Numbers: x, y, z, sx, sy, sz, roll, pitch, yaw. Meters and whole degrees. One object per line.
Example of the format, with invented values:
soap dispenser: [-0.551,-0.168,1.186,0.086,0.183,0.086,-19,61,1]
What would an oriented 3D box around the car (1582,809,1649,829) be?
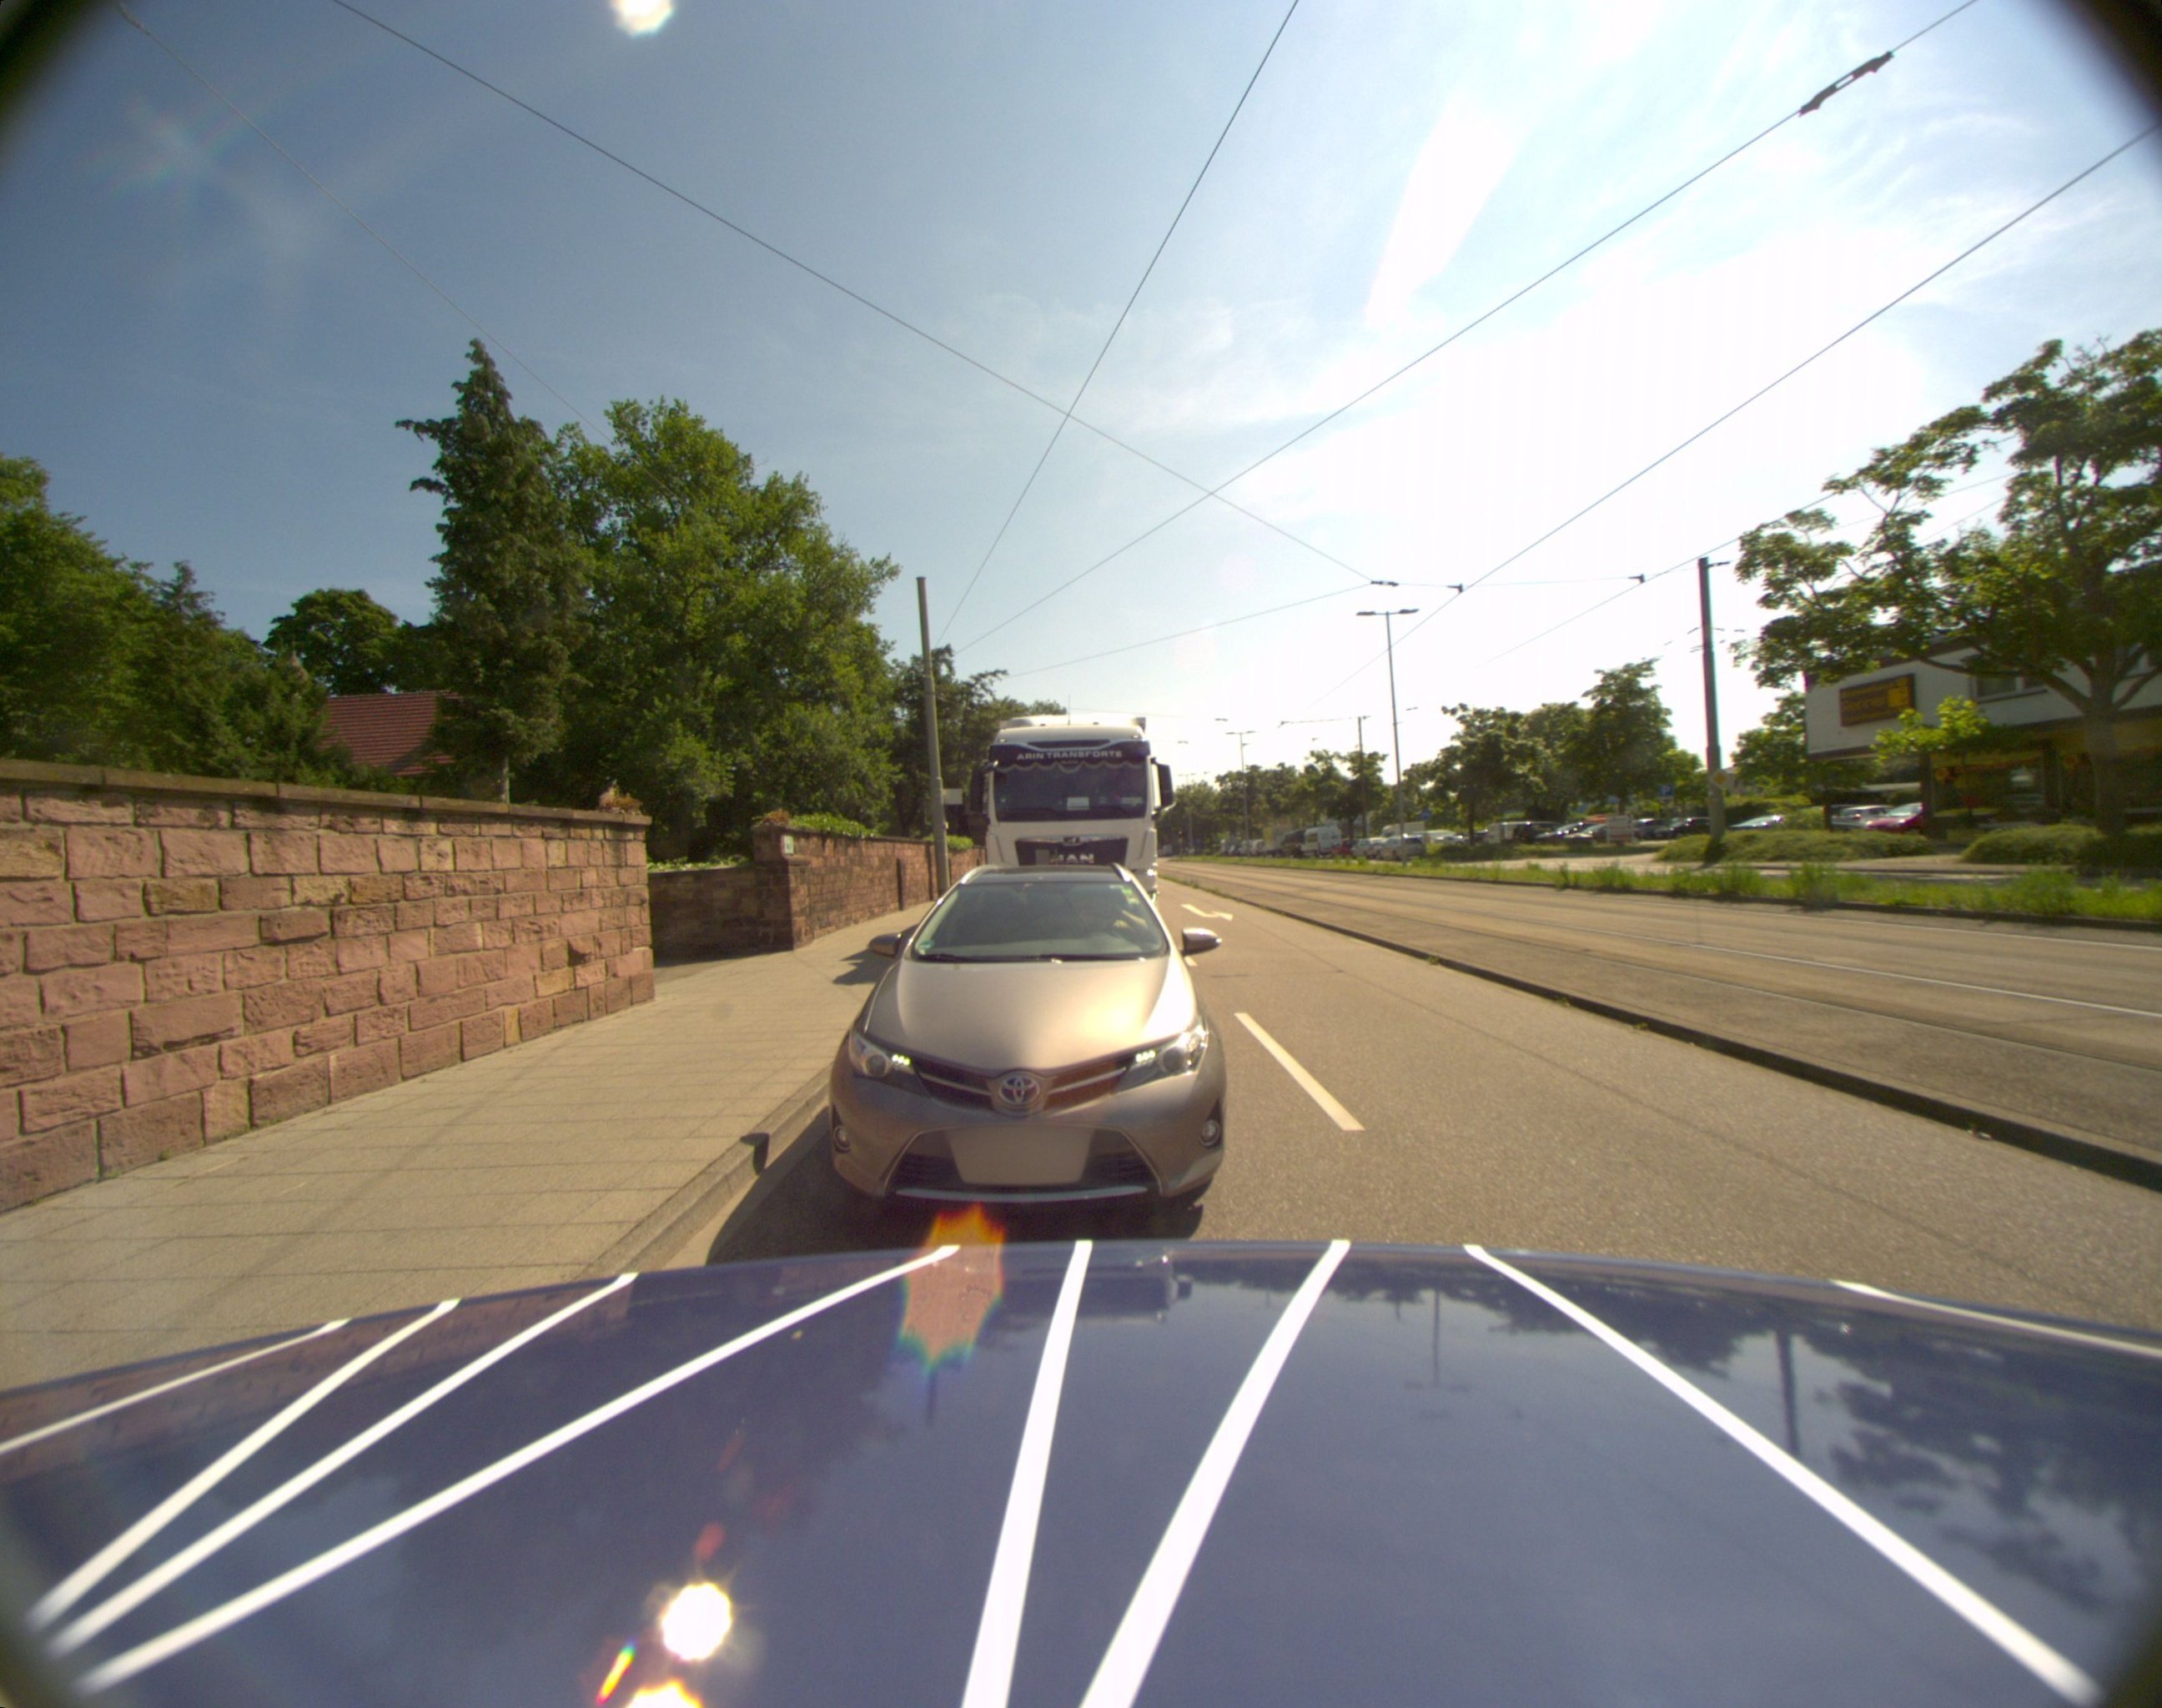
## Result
car: [43.891,-2.872,62.430,4.254,1.327,1.676,-3,0,-1]

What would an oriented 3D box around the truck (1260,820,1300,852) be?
truck: [20.583,-1.798,78.871,2.508,2.917,5.903,-6,0,2]

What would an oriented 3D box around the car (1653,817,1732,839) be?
car: [44.034,-1.869,54.787,4.252,1.327,1.676,-3,0,2]

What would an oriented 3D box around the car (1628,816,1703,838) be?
car: [44.213,-2.030,57.526,4.252,1.327,1.676,-3,0,2]

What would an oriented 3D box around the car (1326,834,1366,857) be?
car: [20.476,-0.648,58.753,1.675,1.524,3.793,-6,0,1]

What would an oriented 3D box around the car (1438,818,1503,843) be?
car: [31.229,-1.864,60.974,4.117,1.728,1.990,-3,1,-2]

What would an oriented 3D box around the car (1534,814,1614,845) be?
car: [30.517,-1.506,47.114,3.810,1.625,1.676,-3,1,2]

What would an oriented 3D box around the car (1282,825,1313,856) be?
car: [19.995,-1.205,70.383,1.502,2.609,4.007,-6,0,1]

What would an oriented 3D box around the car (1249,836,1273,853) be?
car: [20.685,-1.050,87.380,1.502,1.793,4.633,-6,0,1]

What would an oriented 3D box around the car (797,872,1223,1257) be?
car: [-0.263,0.892,5.031,1.654,1.374,4.000,-2,0,1]

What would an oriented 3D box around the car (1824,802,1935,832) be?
car: [44.313,-2.047,42.237,4.252,1.327,1.676,-3,0,2]

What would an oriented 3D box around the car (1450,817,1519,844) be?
car: [30.586,-1.759,57.643,4.117,1.728,1.990,-3,1,-2]

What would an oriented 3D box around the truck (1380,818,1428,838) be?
truck: [44.718,-3.592,105.300,5.652,2.367,1.990,-3,1,-2]

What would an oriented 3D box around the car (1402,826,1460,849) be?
car: [31.167,-1.399,67.877,2.594,1.800,5.741,-3,0,2]

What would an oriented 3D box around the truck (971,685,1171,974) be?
truck: [-0.043,-0.381,15.093,2.628,3.906,9.285,-2,1,1]

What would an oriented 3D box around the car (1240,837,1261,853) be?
car: [20.971,-1.100,94.218,1.502,1.835,4.059,-6,0,0]

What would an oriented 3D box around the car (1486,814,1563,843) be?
car: [30.692,-1.770,52.666,4.117,1.728,1.990,-3,1,-2]

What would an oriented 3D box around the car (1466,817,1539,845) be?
car: [30.532,-1.683,55.136,4.117,1.728,1.990,-3,1,-2]

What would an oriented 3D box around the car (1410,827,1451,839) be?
car: [43.734,-2.620,95.036,4.253,1.327,1.676,-3,0,1]

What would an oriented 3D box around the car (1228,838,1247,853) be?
car: [20.621,-1.084,100.070,1.502,1.775,3.687,-6,0,0]

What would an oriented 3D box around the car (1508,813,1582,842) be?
car: [30.575,-1.715,50.132,3.810,1.625,1.676,-3,1,2]

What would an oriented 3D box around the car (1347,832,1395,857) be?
car: [20.444,-0.625,53.655,1.675,1.524,4.256,-6,0,1]

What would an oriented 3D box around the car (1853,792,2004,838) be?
car: [35.260,-1.583,31.679,4.252,1.595,1.676,-3,1,2]

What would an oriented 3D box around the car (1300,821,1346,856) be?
car: [20.278,-1.252,63.987,2.062,2.638,5.203,-6,0,1]

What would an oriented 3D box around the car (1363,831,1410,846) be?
car: [32.315,-1.591,80.394,4.253,1.327,1.676,-3,0,1]

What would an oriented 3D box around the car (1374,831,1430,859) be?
car: [20.288,-0.541,48.239,1.675,1.524,4.256,-6,0,1]
